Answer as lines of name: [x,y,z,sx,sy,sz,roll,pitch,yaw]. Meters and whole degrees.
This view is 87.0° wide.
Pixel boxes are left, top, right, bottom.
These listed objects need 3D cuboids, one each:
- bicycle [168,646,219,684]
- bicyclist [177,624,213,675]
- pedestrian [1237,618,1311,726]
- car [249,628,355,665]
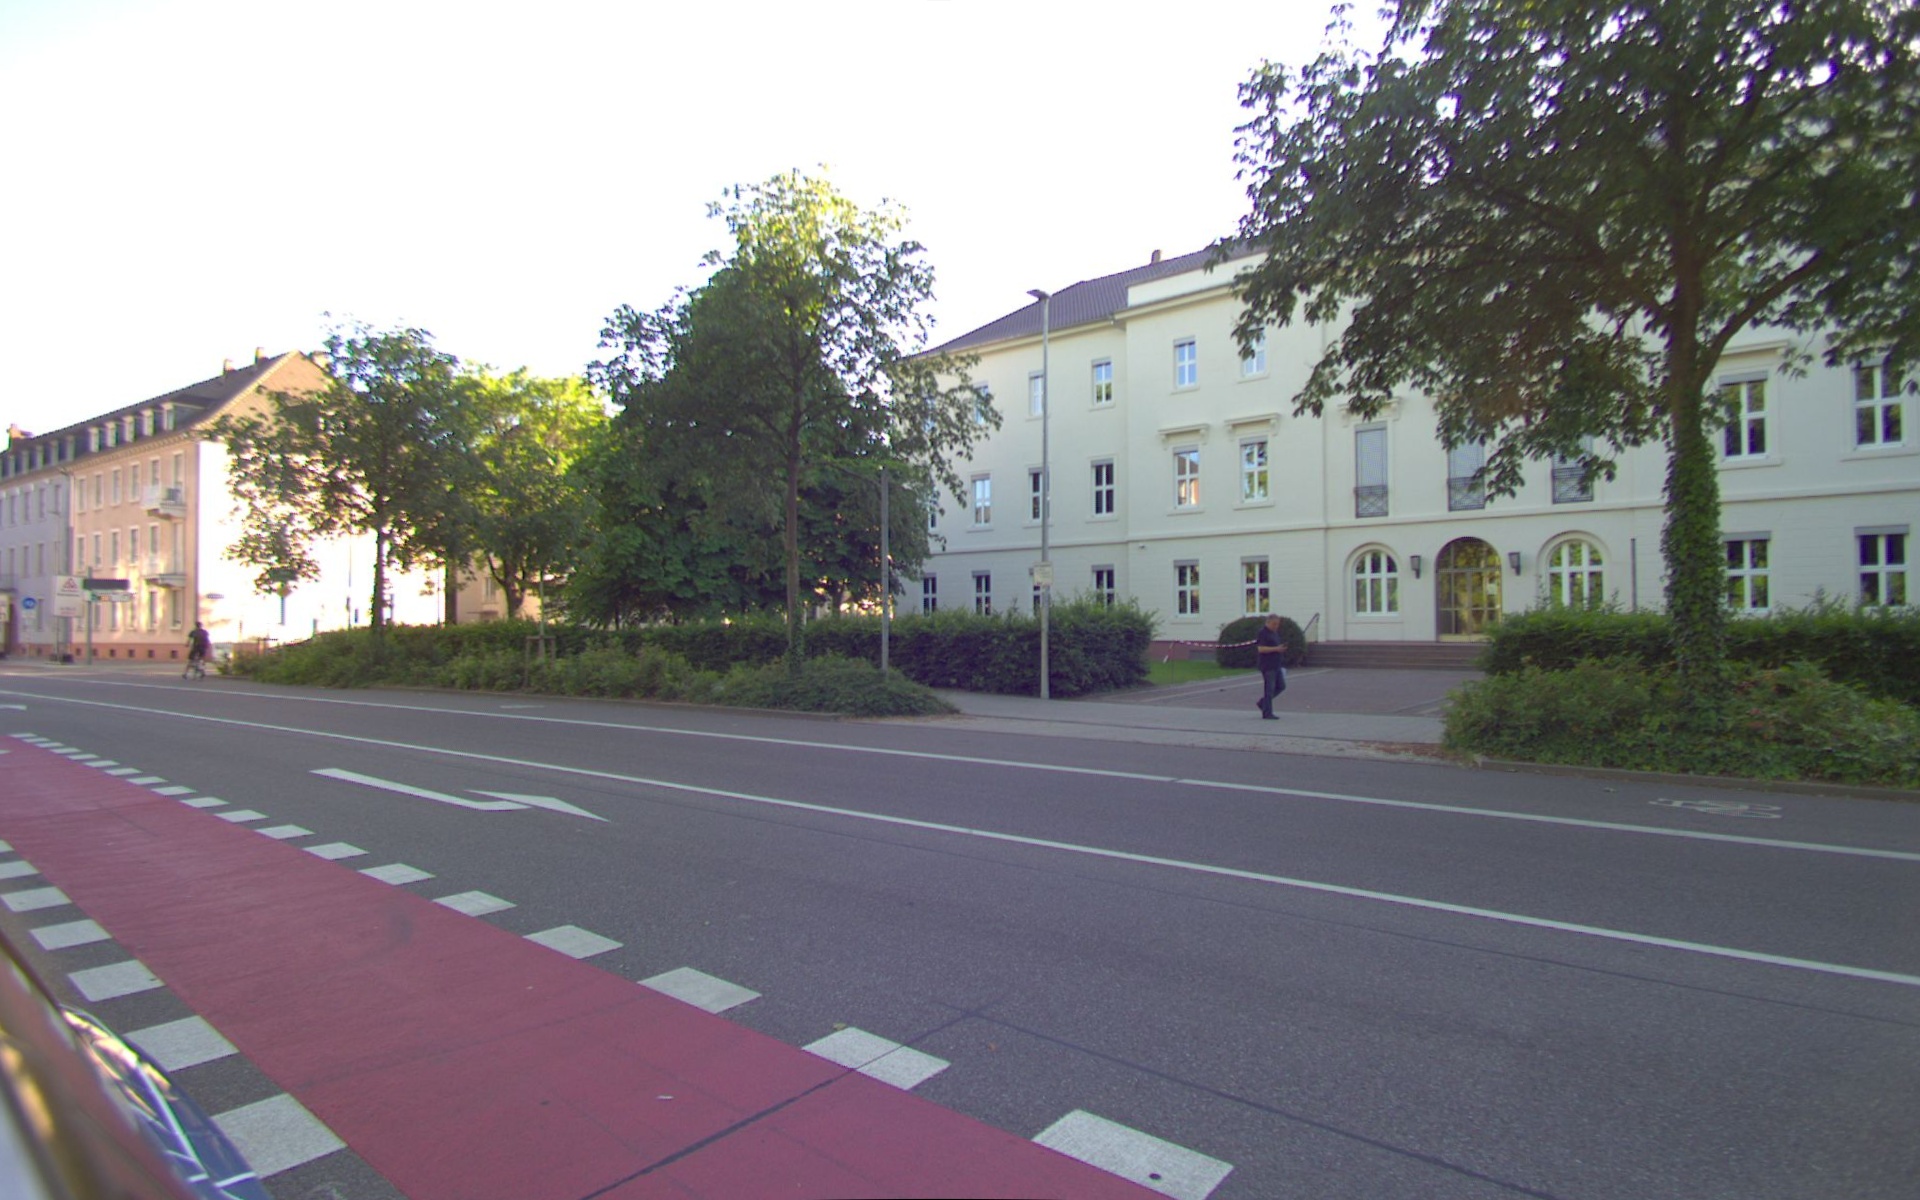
bicycle: [-24.313,2.043,32.091,2.242,1.168,0.688,-2,-4,38]
bicyclist: [-24.219,1.558,32.042,0.837,1.574,0.683,-2,-4,37]
pedestrian: [5.243,1.175,16.916,0.966,1.733,0.827,-2,-3,34]
car: [-32.474,2.258,50.059,1.993,1.674,3.958,-1,-1,31]
